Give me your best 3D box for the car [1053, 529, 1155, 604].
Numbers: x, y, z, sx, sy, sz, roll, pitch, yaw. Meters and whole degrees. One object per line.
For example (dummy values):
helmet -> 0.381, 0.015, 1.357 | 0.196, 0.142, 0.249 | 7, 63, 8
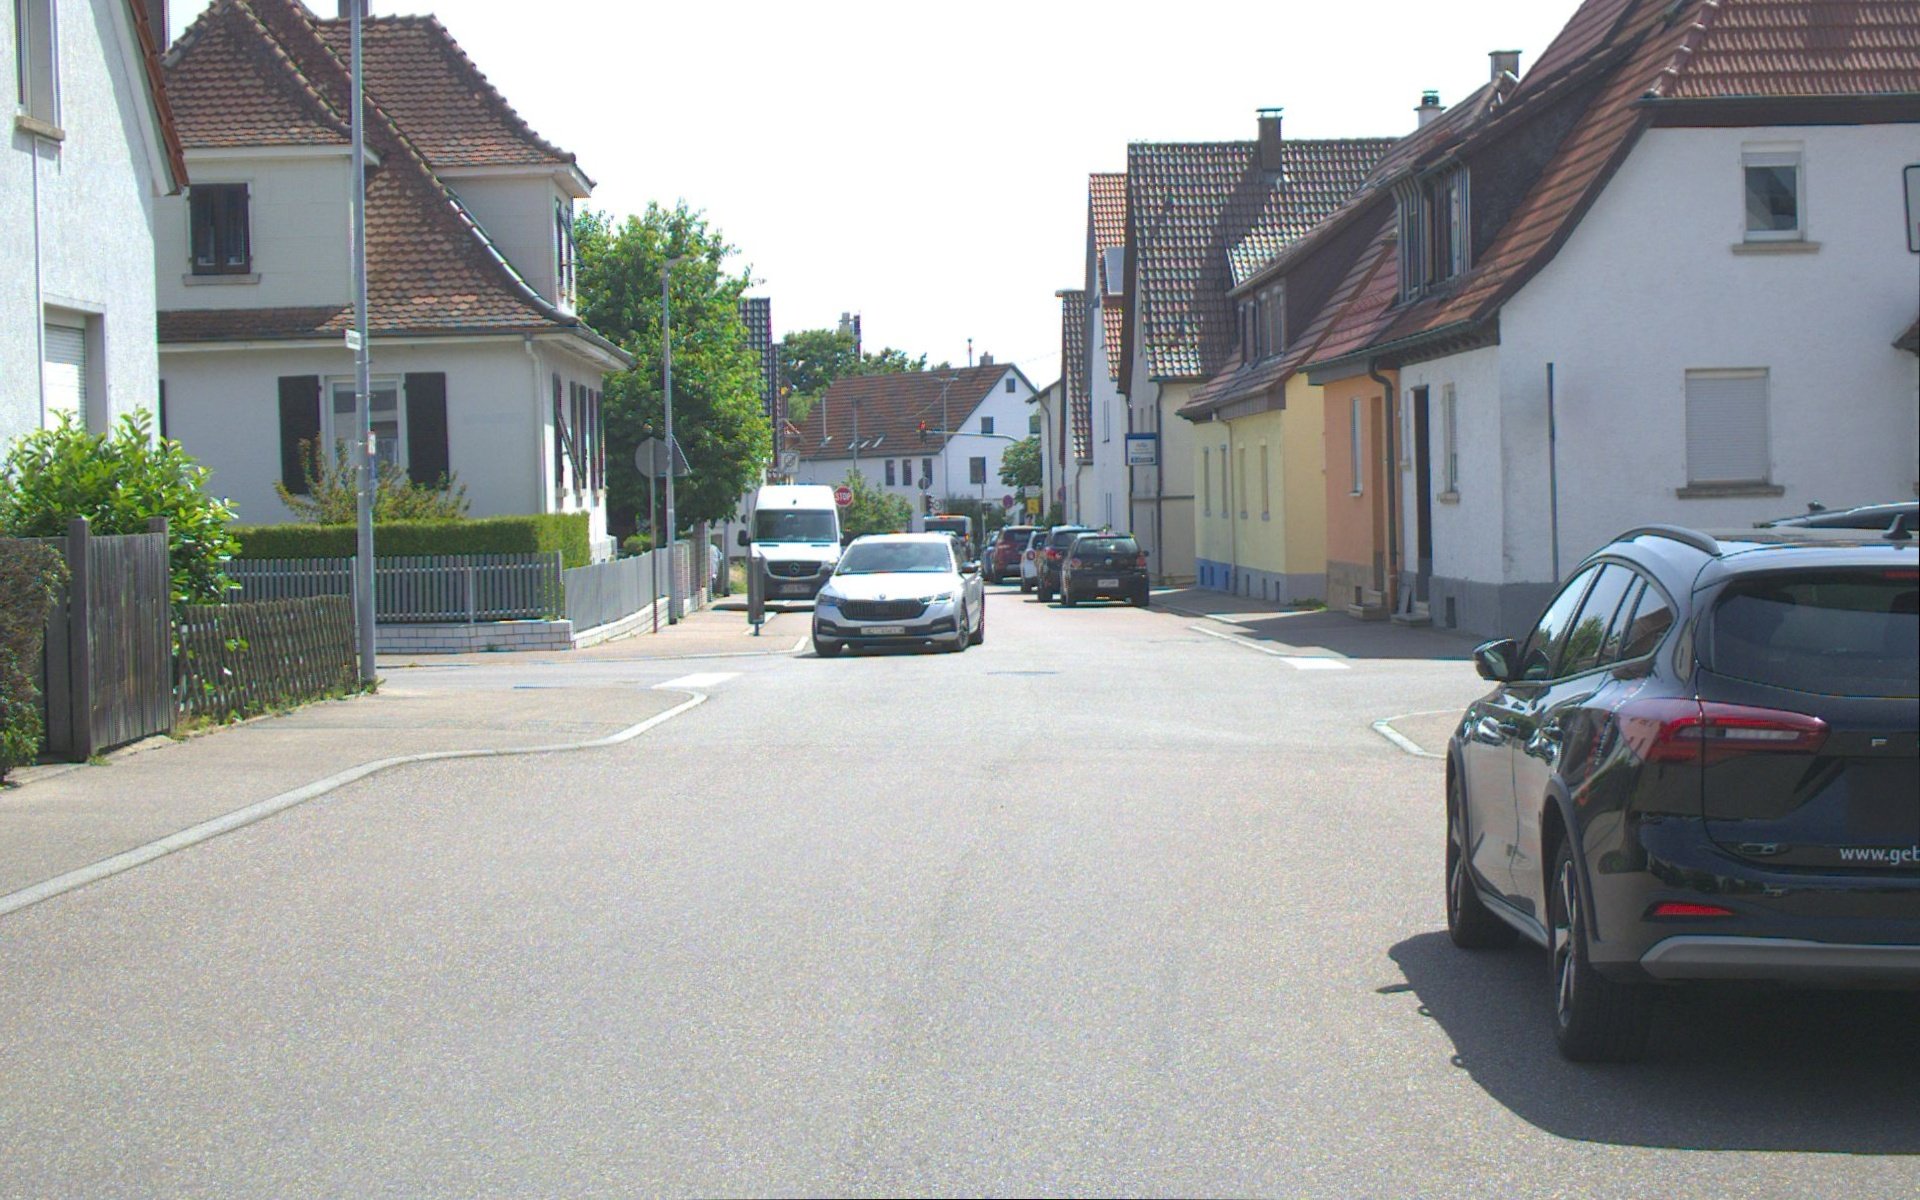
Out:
car -> 2.819, -0.678, 67.858 | 1.610, 1.426, 3.755 | 0, 1, -4

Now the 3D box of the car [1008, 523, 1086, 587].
car -> 2.150, -1.131, 85.563 | 1.673, 1.553, 3.041 | 0, 1, -4

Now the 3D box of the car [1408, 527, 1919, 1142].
car -> 2.558, 0.542, 10.770 | 1.761, 1.522, 4.406 | 0, 1, 1

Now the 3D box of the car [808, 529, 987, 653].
car -> -0.721, -0.148, 42.709 | 1.753, 1.433, 4.587 | 0, 1, 5

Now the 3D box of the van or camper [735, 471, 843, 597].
van or camper -> -3.594, -1.418, 73.235 | 2.184, 2.563, 6.808 | 0, 1, -2

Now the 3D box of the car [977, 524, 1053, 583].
car -> 1.585, -1.374, 100.457 | 1.875, 1.694, 4.184 | 0, 1, -4

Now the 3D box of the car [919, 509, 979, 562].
car -> -0.433, -2.751, 145.837 | 2.129, 2.151, 4.736 | -1, 1, 4

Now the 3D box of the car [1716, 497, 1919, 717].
car -> 8.131, 0.027, 26.566 | 4.294, 1.647, 1.847 | 0, 1, 7

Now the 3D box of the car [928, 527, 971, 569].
car -> -0.389, -2.002, 131.632 | 1.516, 1.561, 3.184 | 0, 1, 2

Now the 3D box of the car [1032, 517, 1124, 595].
car -> 2.504, -0.961, 73.628 | 1.728, 1.594, 4.254 | 0, 1, -1
